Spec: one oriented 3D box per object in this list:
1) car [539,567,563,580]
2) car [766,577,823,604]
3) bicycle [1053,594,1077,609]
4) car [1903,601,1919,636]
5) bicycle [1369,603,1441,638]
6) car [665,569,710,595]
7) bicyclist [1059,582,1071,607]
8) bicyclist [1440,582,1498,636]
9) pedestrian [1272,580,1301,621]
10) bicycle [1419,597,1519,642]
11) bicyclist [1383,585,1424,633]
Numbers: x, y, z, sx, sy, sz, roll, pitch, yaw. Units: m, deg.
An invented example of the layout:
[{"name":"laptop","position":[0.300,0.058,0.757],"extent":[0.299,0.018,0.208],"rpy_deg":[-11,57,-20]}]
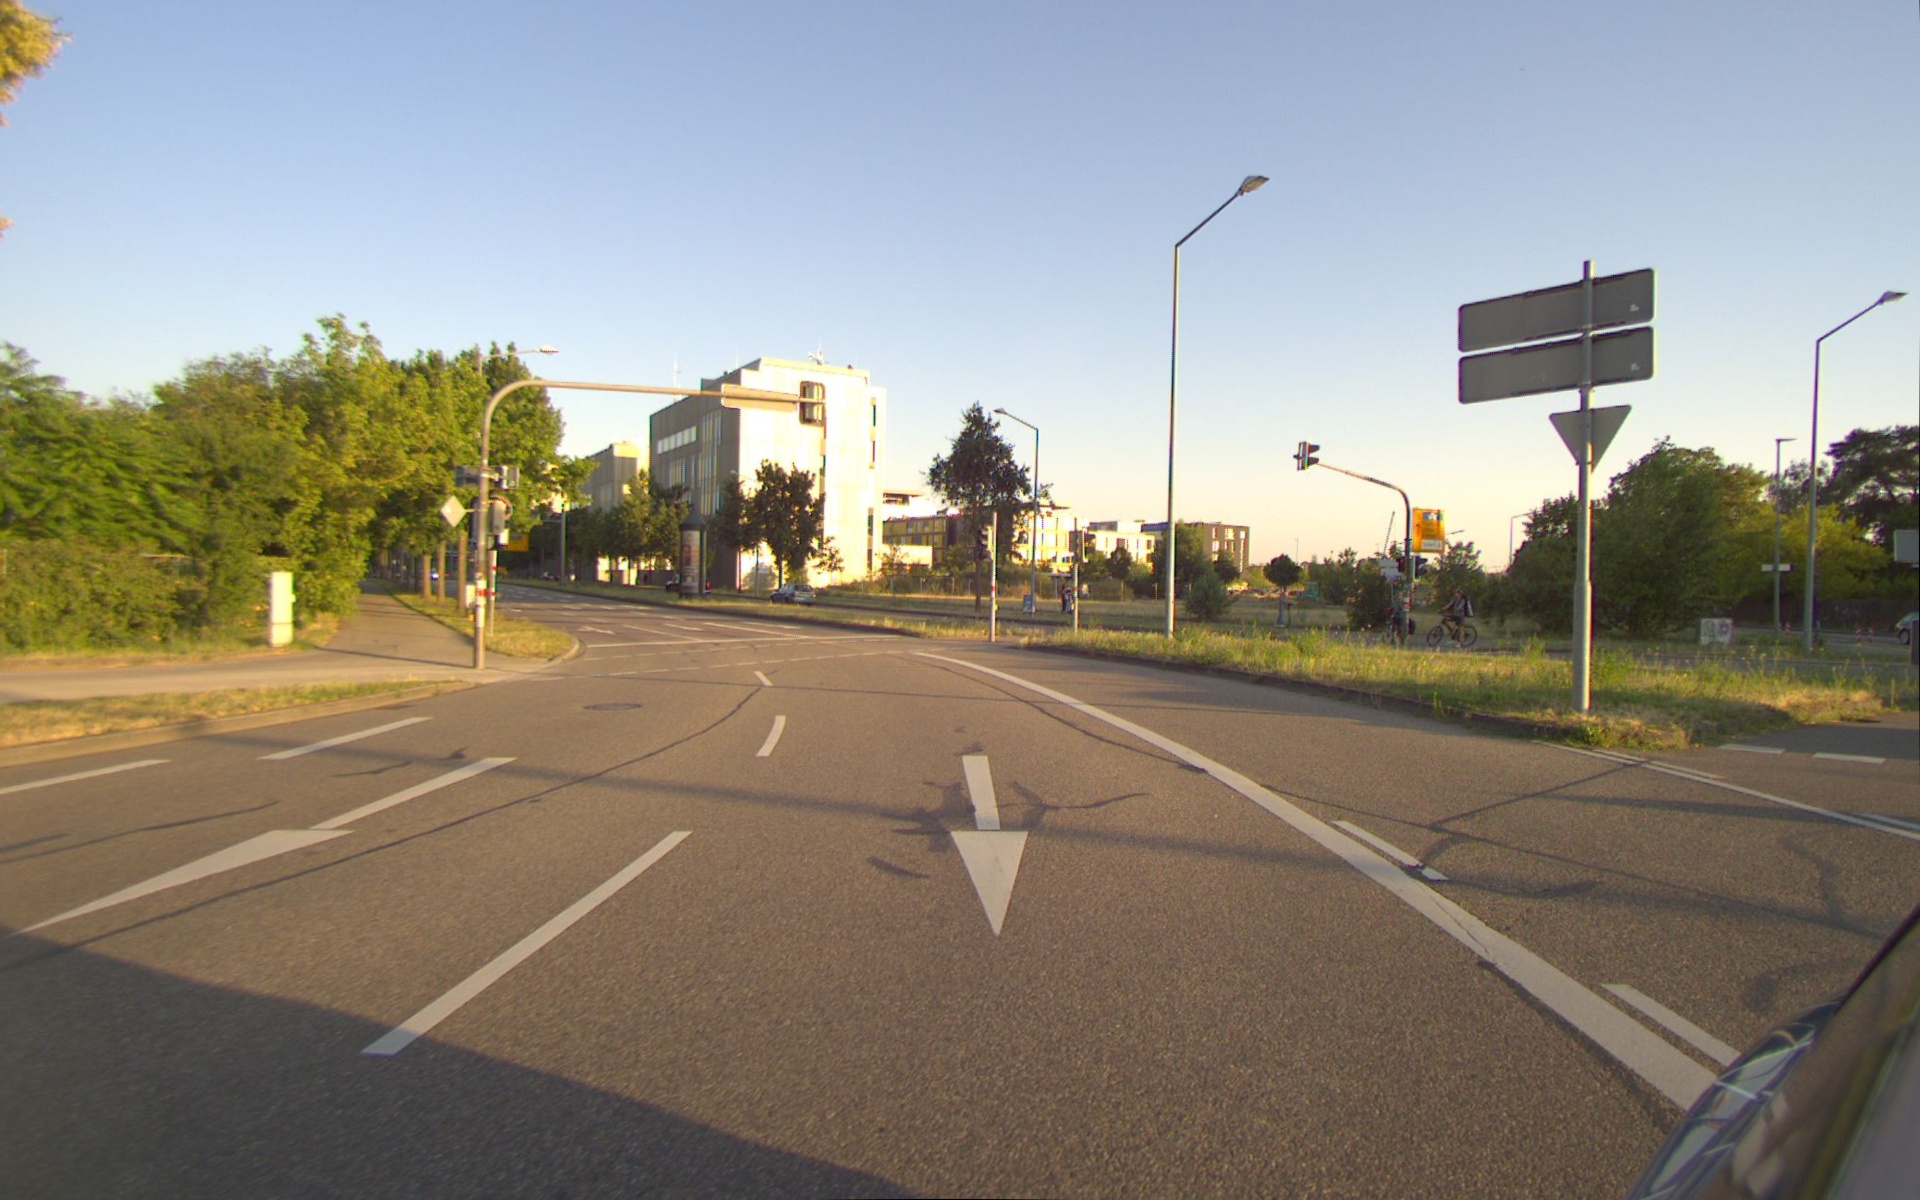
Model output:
[{"name":"car","position":[-51.170,-3.344,126.498],"extent":[1.961,1.566,4.133],"rpy_deg":[1,1,-33]},{"name":"car","position":[-10.302,-0.620,62.891],"extent":[1.961,1.566,4.133],"rpy_deg":[1,1,-33]},{"name":"bicycle","position":[5.878,0.068,56.581],"extent":[0.465,0.801,1.418],"rpy_deg":[1,1,-36]},{"name":"car","position":[42.461,0.864,42.537],"extent":[1.809,1.519,4.251],"rpy_deg":[1,1,4]},{"name":"bicycle","position":[15.689,0.726,35.672],"extent":[2.280,1.193,0.812],"rpy_deg":[1,1,-16]},{"name":"car","position":[-19.496,-1.267,72.301],"extent":[1.961,1.772,4.133],"rpy_deg":[1,1,-33]},{"name":"bicyclist","position":[5.891,-0.315,56.561],"extent":[0.465,1.415,0.448],"rpy_deg":[1,1,-37]},{"name":"bicyclist","position":[17.304,0.305,34.427],"extent":[1.388,1.770,1.126],"rpy_deg":[1,1,-26]},{"name":"pedestrian","position":[13.767,0.024,42.618],"extent":[0.706,1.722,0.891],"rpy_deg":[1,0,-30]},{"name":"bicycle","position":[17.284,0.645,34.337],"extent":[3.466,1.412,1.126],"rpy_deg":[1,1,-26]},{"name":"bicyclist","position":[15.620,0.316,35.630],"extent":[0.979,1.653,0.812],"rpy_deg":[1,1,-16]}]
